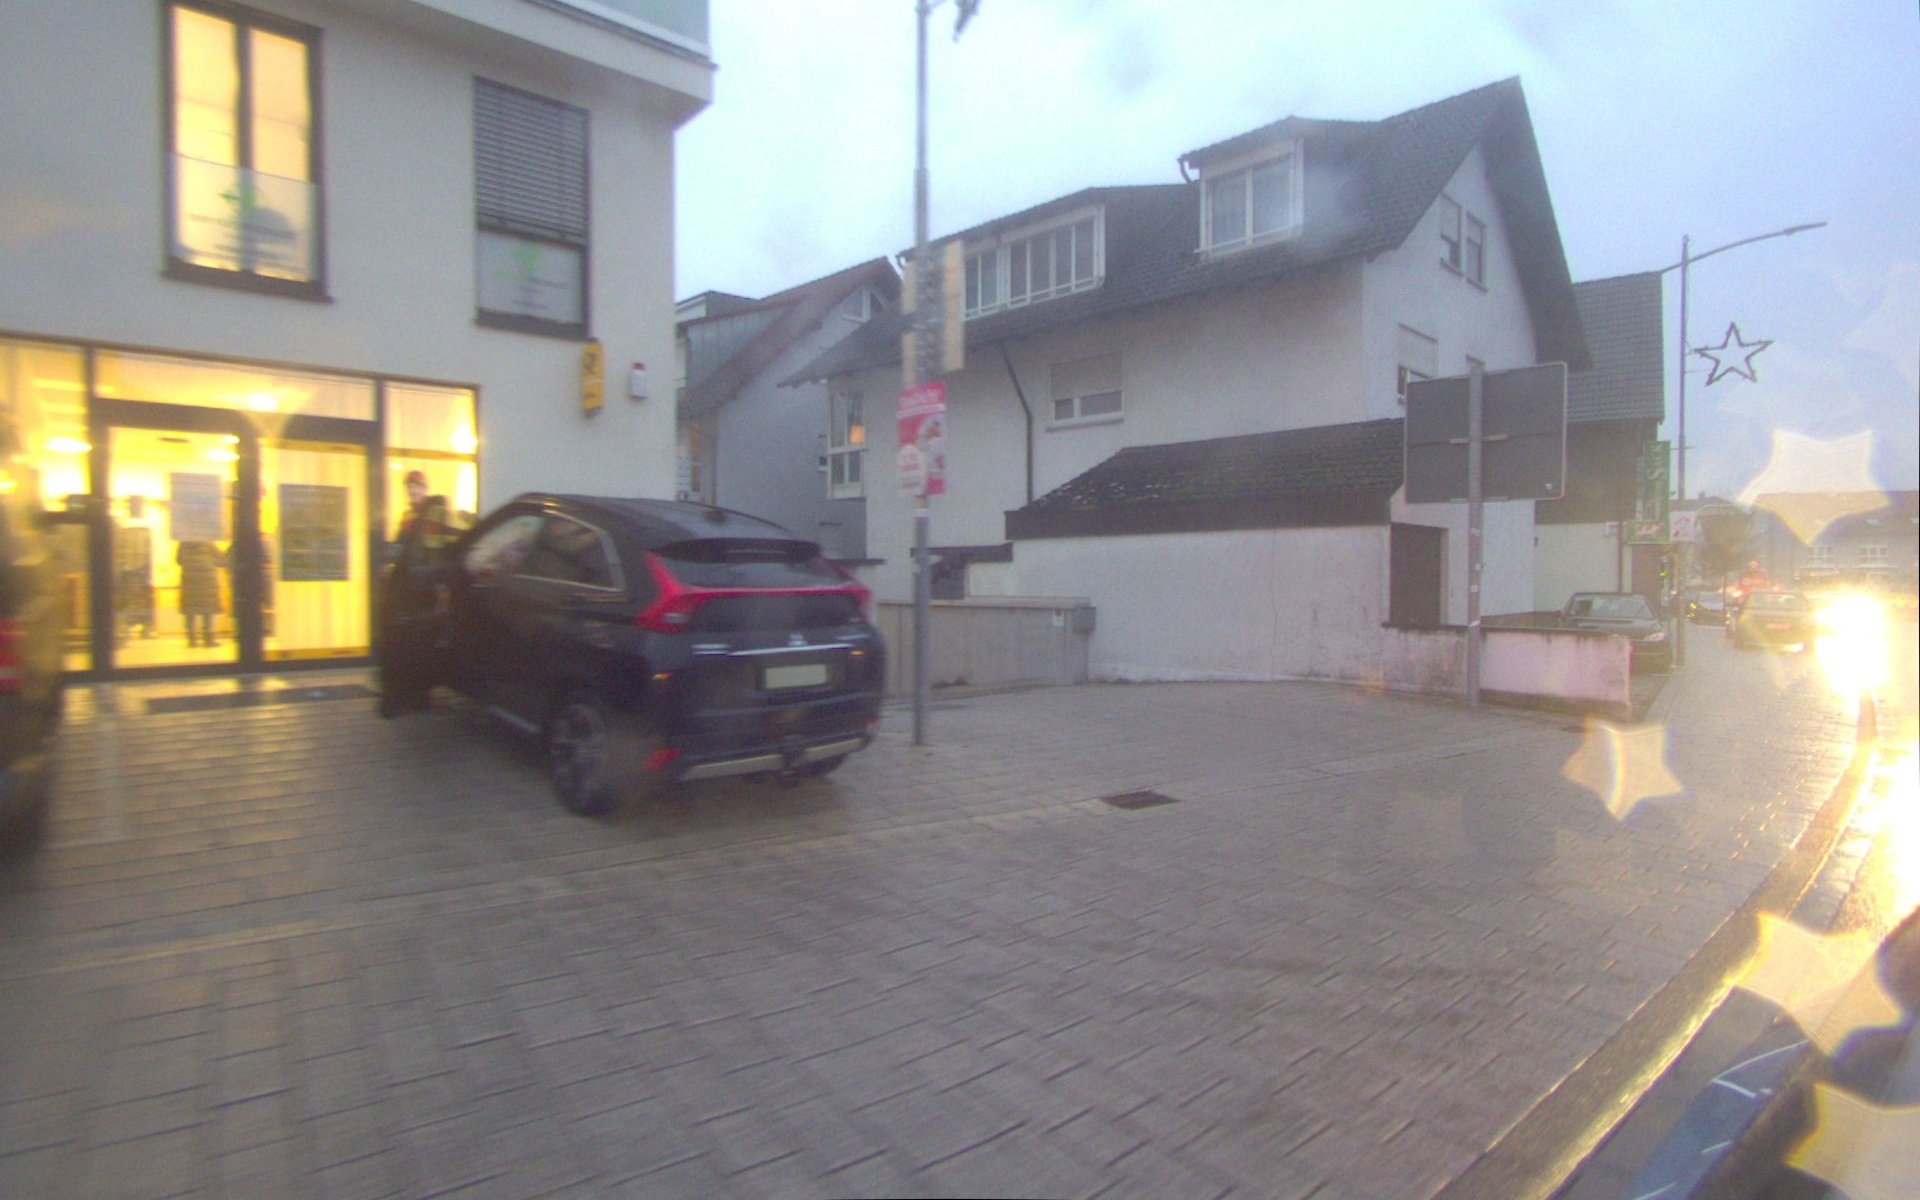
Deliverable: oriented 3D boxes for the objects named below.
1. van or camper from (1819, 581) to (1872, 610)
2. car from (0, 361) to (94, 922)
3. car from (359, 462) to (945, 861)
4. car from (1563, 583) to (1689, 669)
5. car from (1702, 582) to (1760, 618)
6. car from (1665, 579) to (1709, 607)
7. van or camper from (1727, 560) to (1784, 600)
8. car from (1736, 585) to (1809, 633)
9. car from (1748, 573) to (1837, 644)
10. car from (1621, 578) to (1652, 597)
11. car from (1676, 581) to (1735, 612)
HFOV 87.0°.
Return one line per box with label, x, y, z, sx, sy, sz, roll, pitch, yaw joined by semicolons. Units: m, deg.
van or camper;44.675;-0.247;51.115;1.556;1.372;3.381;2;2;33
car;-5.325;-0.084;4.710;1.916;1.942;4.575;-1;7;-41
car;-2.272;0.099;6.693;4.179;1.657;1.776;10;7;42
car;12.907;0.418;19.804;1.756;1.410;3.873;3;3;30
car;35.739;-0.044;46.993;1.645;1.472;4.190;3;3;32
car;44.477;-0.445;61.995;1.656;1.595;4.451;1;2;29
van or camper;57.206;-1.424;72.897;2.229;2.702;6.485;1;1;30
car;27.002;0.276;33.694;1.641;1.433;2.693;4;3;35
car;23.764;0.187;28.952;1.767;1.803;3.943;4;3;39
car;57.730;-1.083;86.413;1.797;1.583;4.262;1;2;29
car;41.206;-0.219;56.038;1.946;1.552;4.957;-2;0;30
